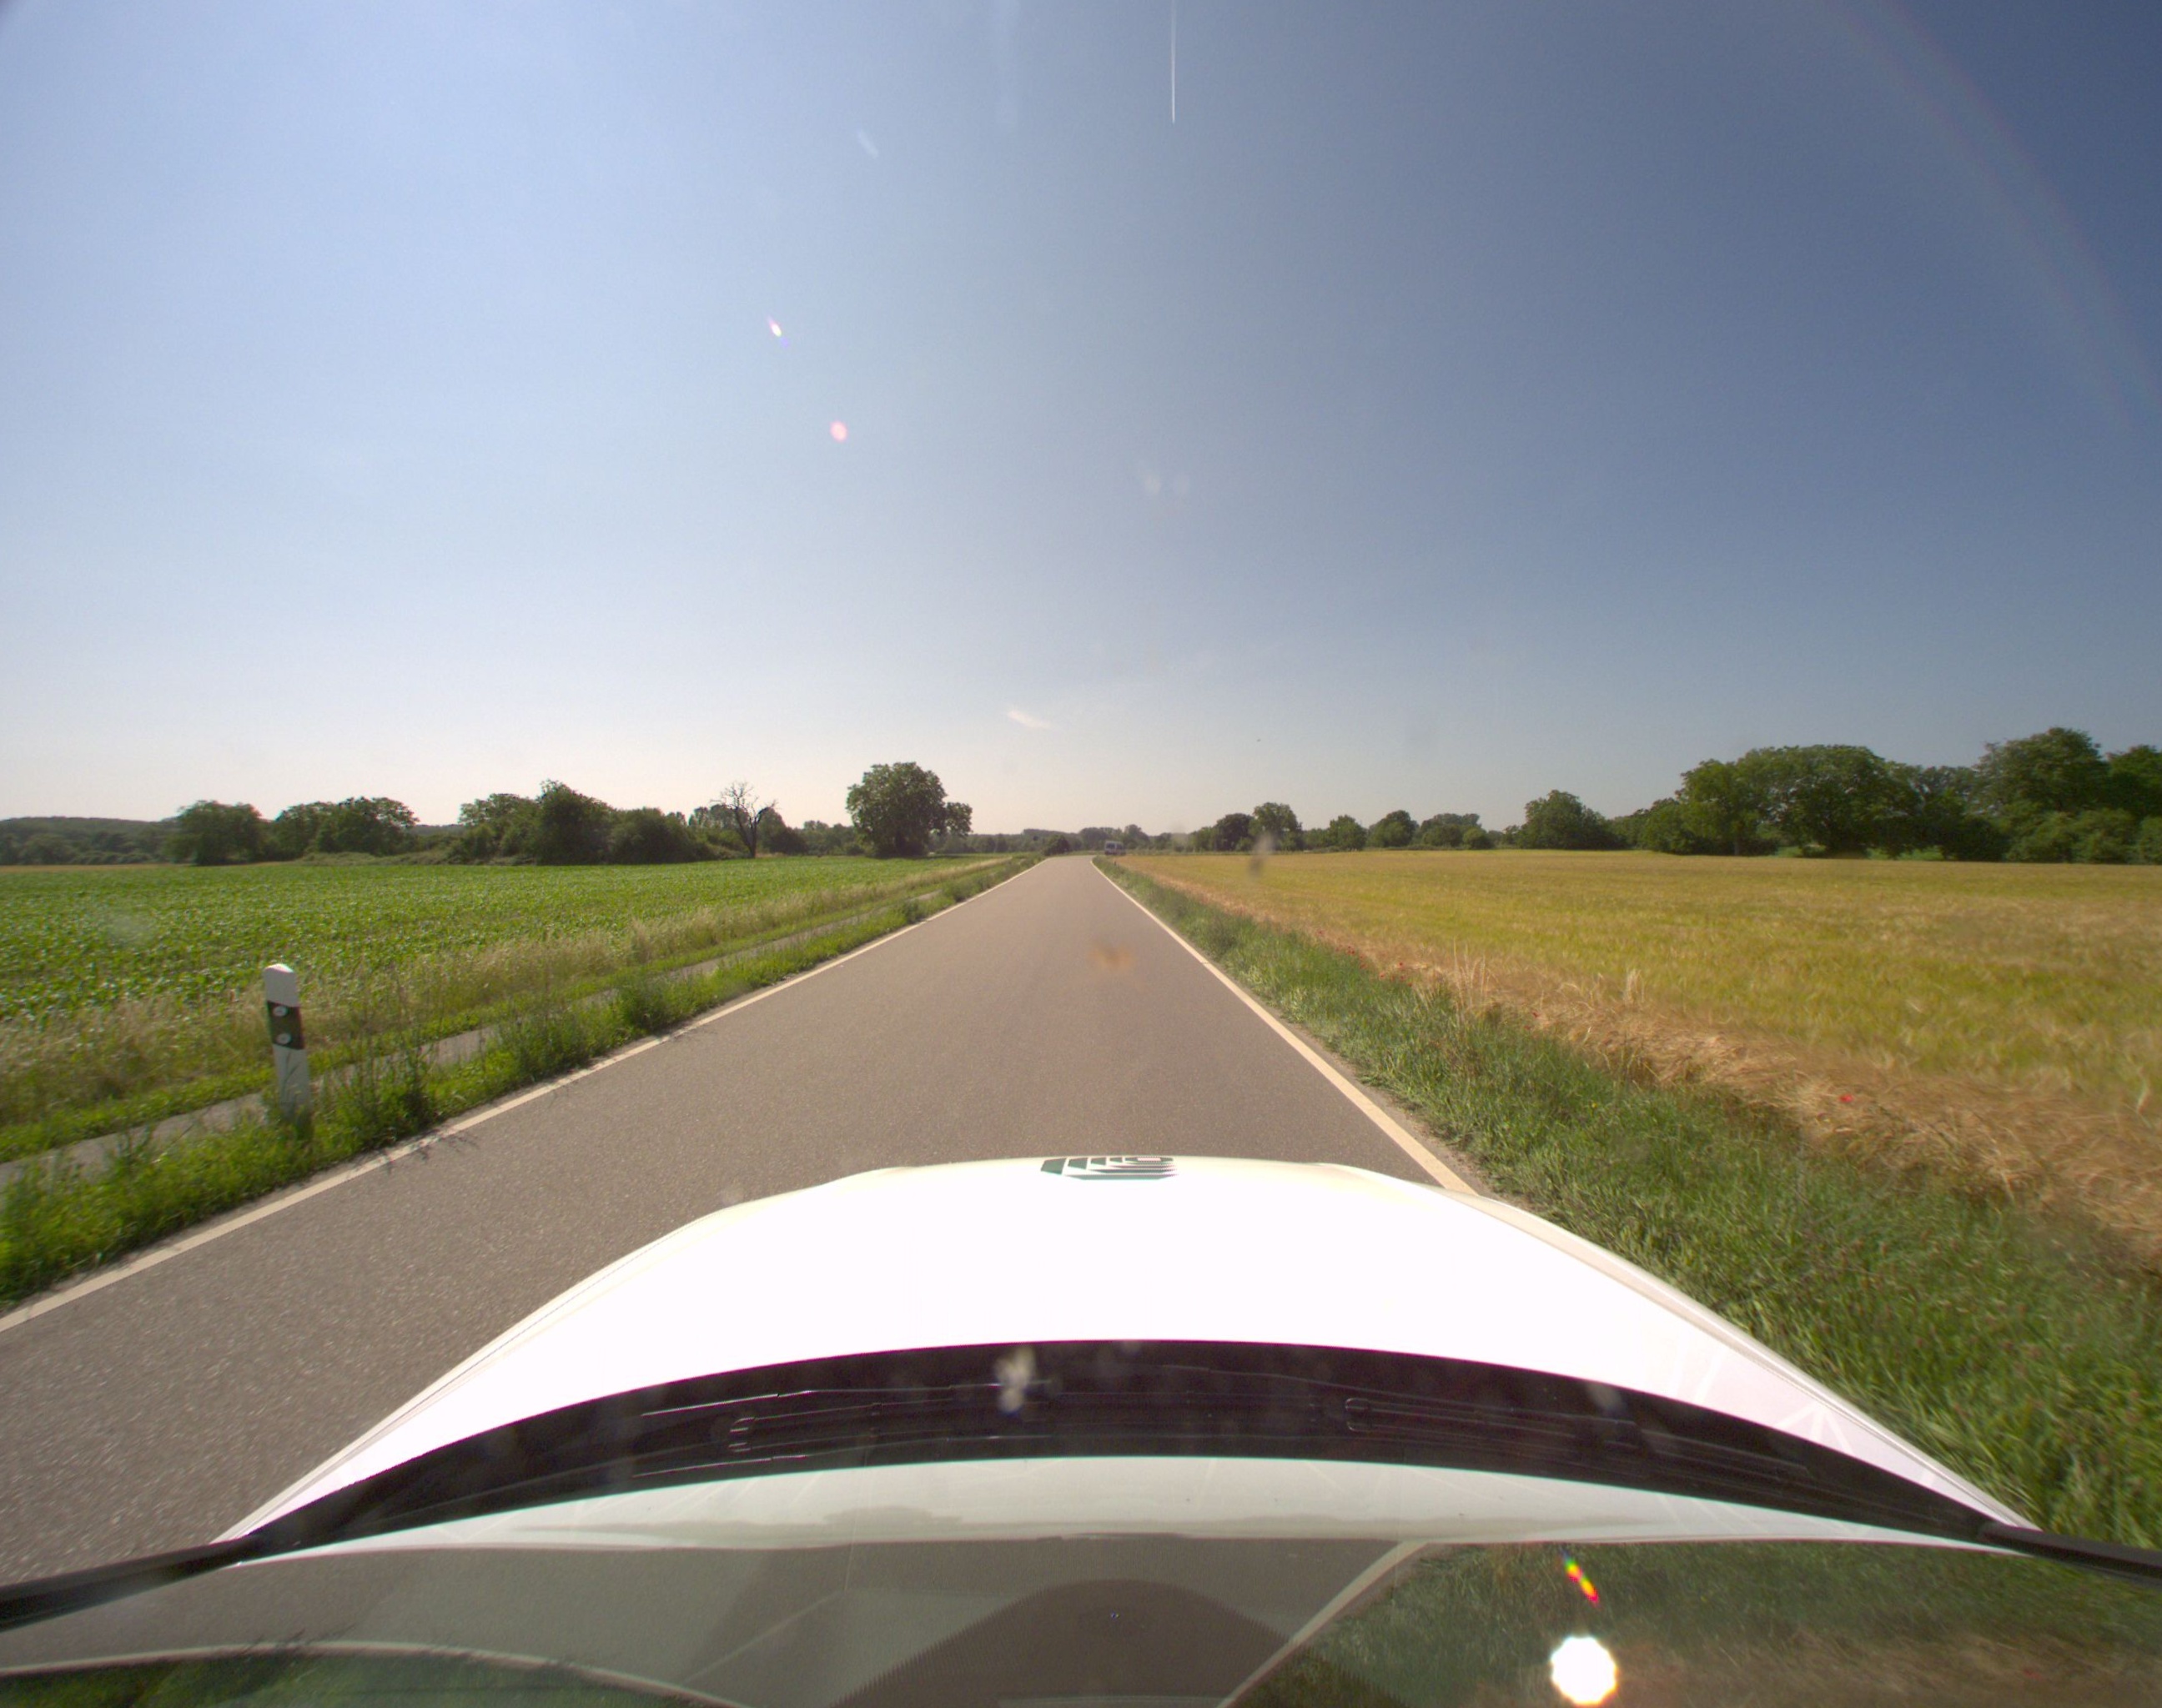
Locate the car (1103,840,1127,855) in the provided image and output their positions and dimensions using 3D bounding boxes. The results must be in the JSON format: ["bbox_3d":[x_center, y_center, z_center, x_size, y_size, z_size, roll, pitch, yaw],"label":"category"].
[{"bbox_3d":[5.633,-1.108,133.768,2.086,2.367,5.717,-1,1,22],"label":"car"}]
